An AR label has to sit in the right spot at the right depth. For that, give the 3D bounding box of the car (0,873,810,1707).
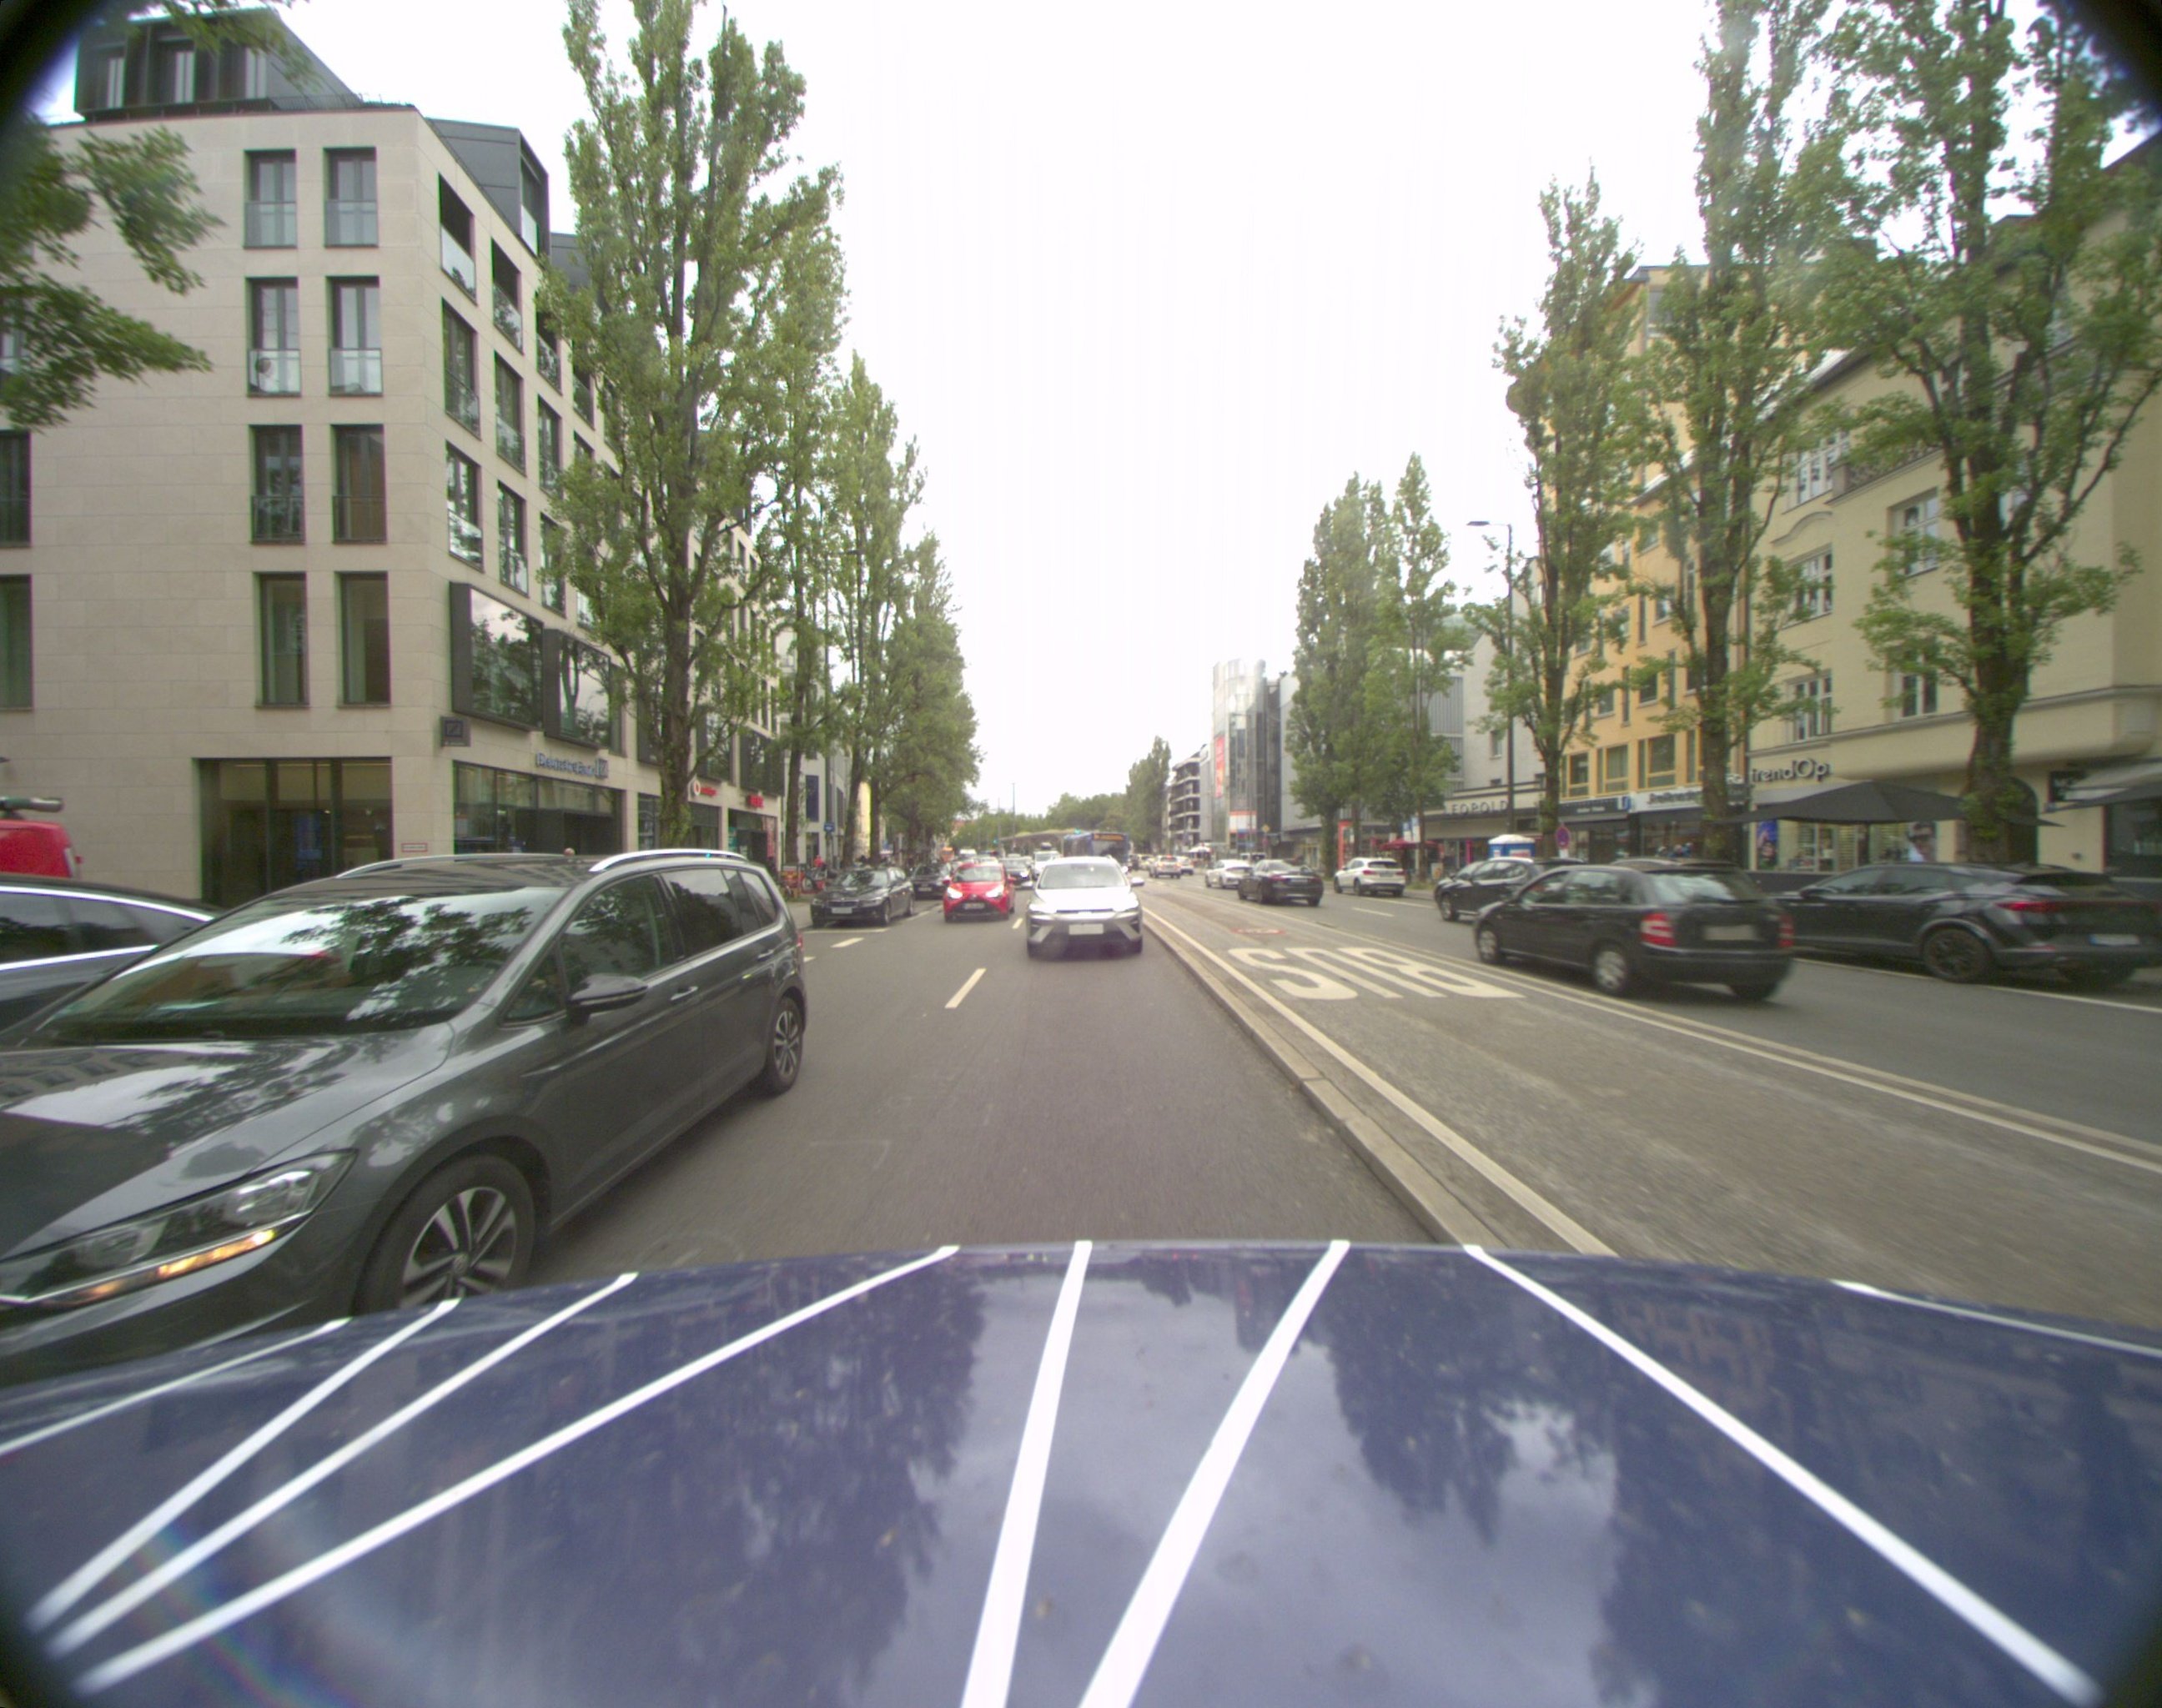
[{"bbox_3d":[-2.827,0.959,3.402,1.883,1.582,4.191,-2,0,-3],"label":"car"}]

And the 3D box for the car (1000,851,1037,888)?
[{"bbox_3d":[-3.080,0.720,37.327,1.707,1.683,4.001,-2,0,-5],"label":"car"}]

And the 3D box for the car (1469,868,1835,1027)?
[{"bbox_3d":[6.329,0.921,8.993,1.616,1.432,3.596,0,0,0],"label":"car"}]

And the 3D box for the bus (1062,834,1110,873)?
[{"bbox_3d":[0.266,-0.056,62.079,2.691,2.932,10.045,-1,0,-7],"label":"bus"}]

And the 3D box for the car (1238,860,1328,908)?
[{"bbox_3d":[6.493,0.918,24.943,1.781,1.391,4.363,0,0,0],"label":"car"}]

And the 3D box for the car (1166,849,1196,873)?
[{"bbox_3d":[8.695,0.610,66.384,1.999,2.002,3.999,0,0,-2],"label":"car"}]

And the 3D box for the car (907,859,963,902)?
[{"bbox_3d":[-5.766,1.006,30.394,1.701,1.507,3.998,-2,1,-5],"label":"car"}]

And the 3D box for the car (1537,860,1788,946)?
[{"bbox_3d":[11.815,0.900,15.935,1.802,1.495,4.574,0,0,1],"label":"car"}]

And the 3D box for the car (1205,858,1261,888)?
[{"bbox_3d":[7.574,0.939,38.201,1.782,1.391,4.081,0,0,-4],"label":"car"}]

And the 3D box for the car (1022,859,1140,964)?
[{"bbox_3d":[0.006,0.890,13.610,1.742,1.510,4.033,-2,0,0],"label":"car"}]

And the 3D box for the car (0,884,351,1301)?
[{"bbox_3d":[-5.226,1.009,2.221,1.789,1.604,4.498,-2,0,0],"label":"car"}]

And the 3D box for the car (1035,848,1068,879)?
[{"bbox_3d":[-1.869,0.577,49.624,1.839,1.831,5.129,-2,1,0],"label":"car"}]

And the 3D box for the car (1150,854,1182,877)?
[{"bbox_3d":[6.238,0.786,55.875,1.863,1.606,4.363,0,0,0],"label":"car"}]

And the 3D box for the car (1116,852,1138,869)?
[{"bbox_3d":[4.484,0.615,74.446,1.863,1.606,4.363,0,0,0],"label":"car"}]

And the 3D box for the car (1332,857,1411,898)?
[{"bbox_3d":[12.146,0.931,32.055,1.802,1.568,4.104,0,0,1],"label":"car"}]

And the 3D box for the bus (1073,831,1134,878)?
[{"bbox_3d":[1.372,-0.002,52.883,2.698,2.932,10.045,-1,0,-7],"label":"bus"}]

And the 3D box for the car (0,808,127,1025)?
[{"bbox_3d":[-11.592,0.621,6.435,1.682,2.110,4.004,0,0,12],"label":"car"}]

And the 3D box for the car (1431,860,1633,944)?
[{"bbox_3d":[9.395,0.913,16.317,1.750,1.509,4.363,0,0,0],"label":"car"}]

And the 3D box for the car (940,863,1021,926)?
[{"bbox_3d":[-2.584,0.998,20.352,1.616,1.425,4.003,-2,0,0],"label":"car"}]

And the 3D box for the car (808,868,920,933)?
[{"bbox_3d":[-5.435,1.115,19.554,1.700,1.352,4.003,-2,0,0],"label":"car"}]

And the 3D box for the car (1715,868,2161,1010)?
[{"bbox_3d":[11.586,0.970,10.536,1.802,1.432,4.574,0,0,1],"label":"car"}]

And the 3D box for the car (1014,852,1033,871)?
[{"bbox_3d":[-5.405,0.725,71.600,1.707,1.683,4.001,-2,0,-5],"label":"car"}]

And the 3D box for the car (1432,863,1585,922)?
[{"bbox_3d":[11.879,0.996,21.506,1.802,1.432,4.574,0,0,1],"label":"car"}]
